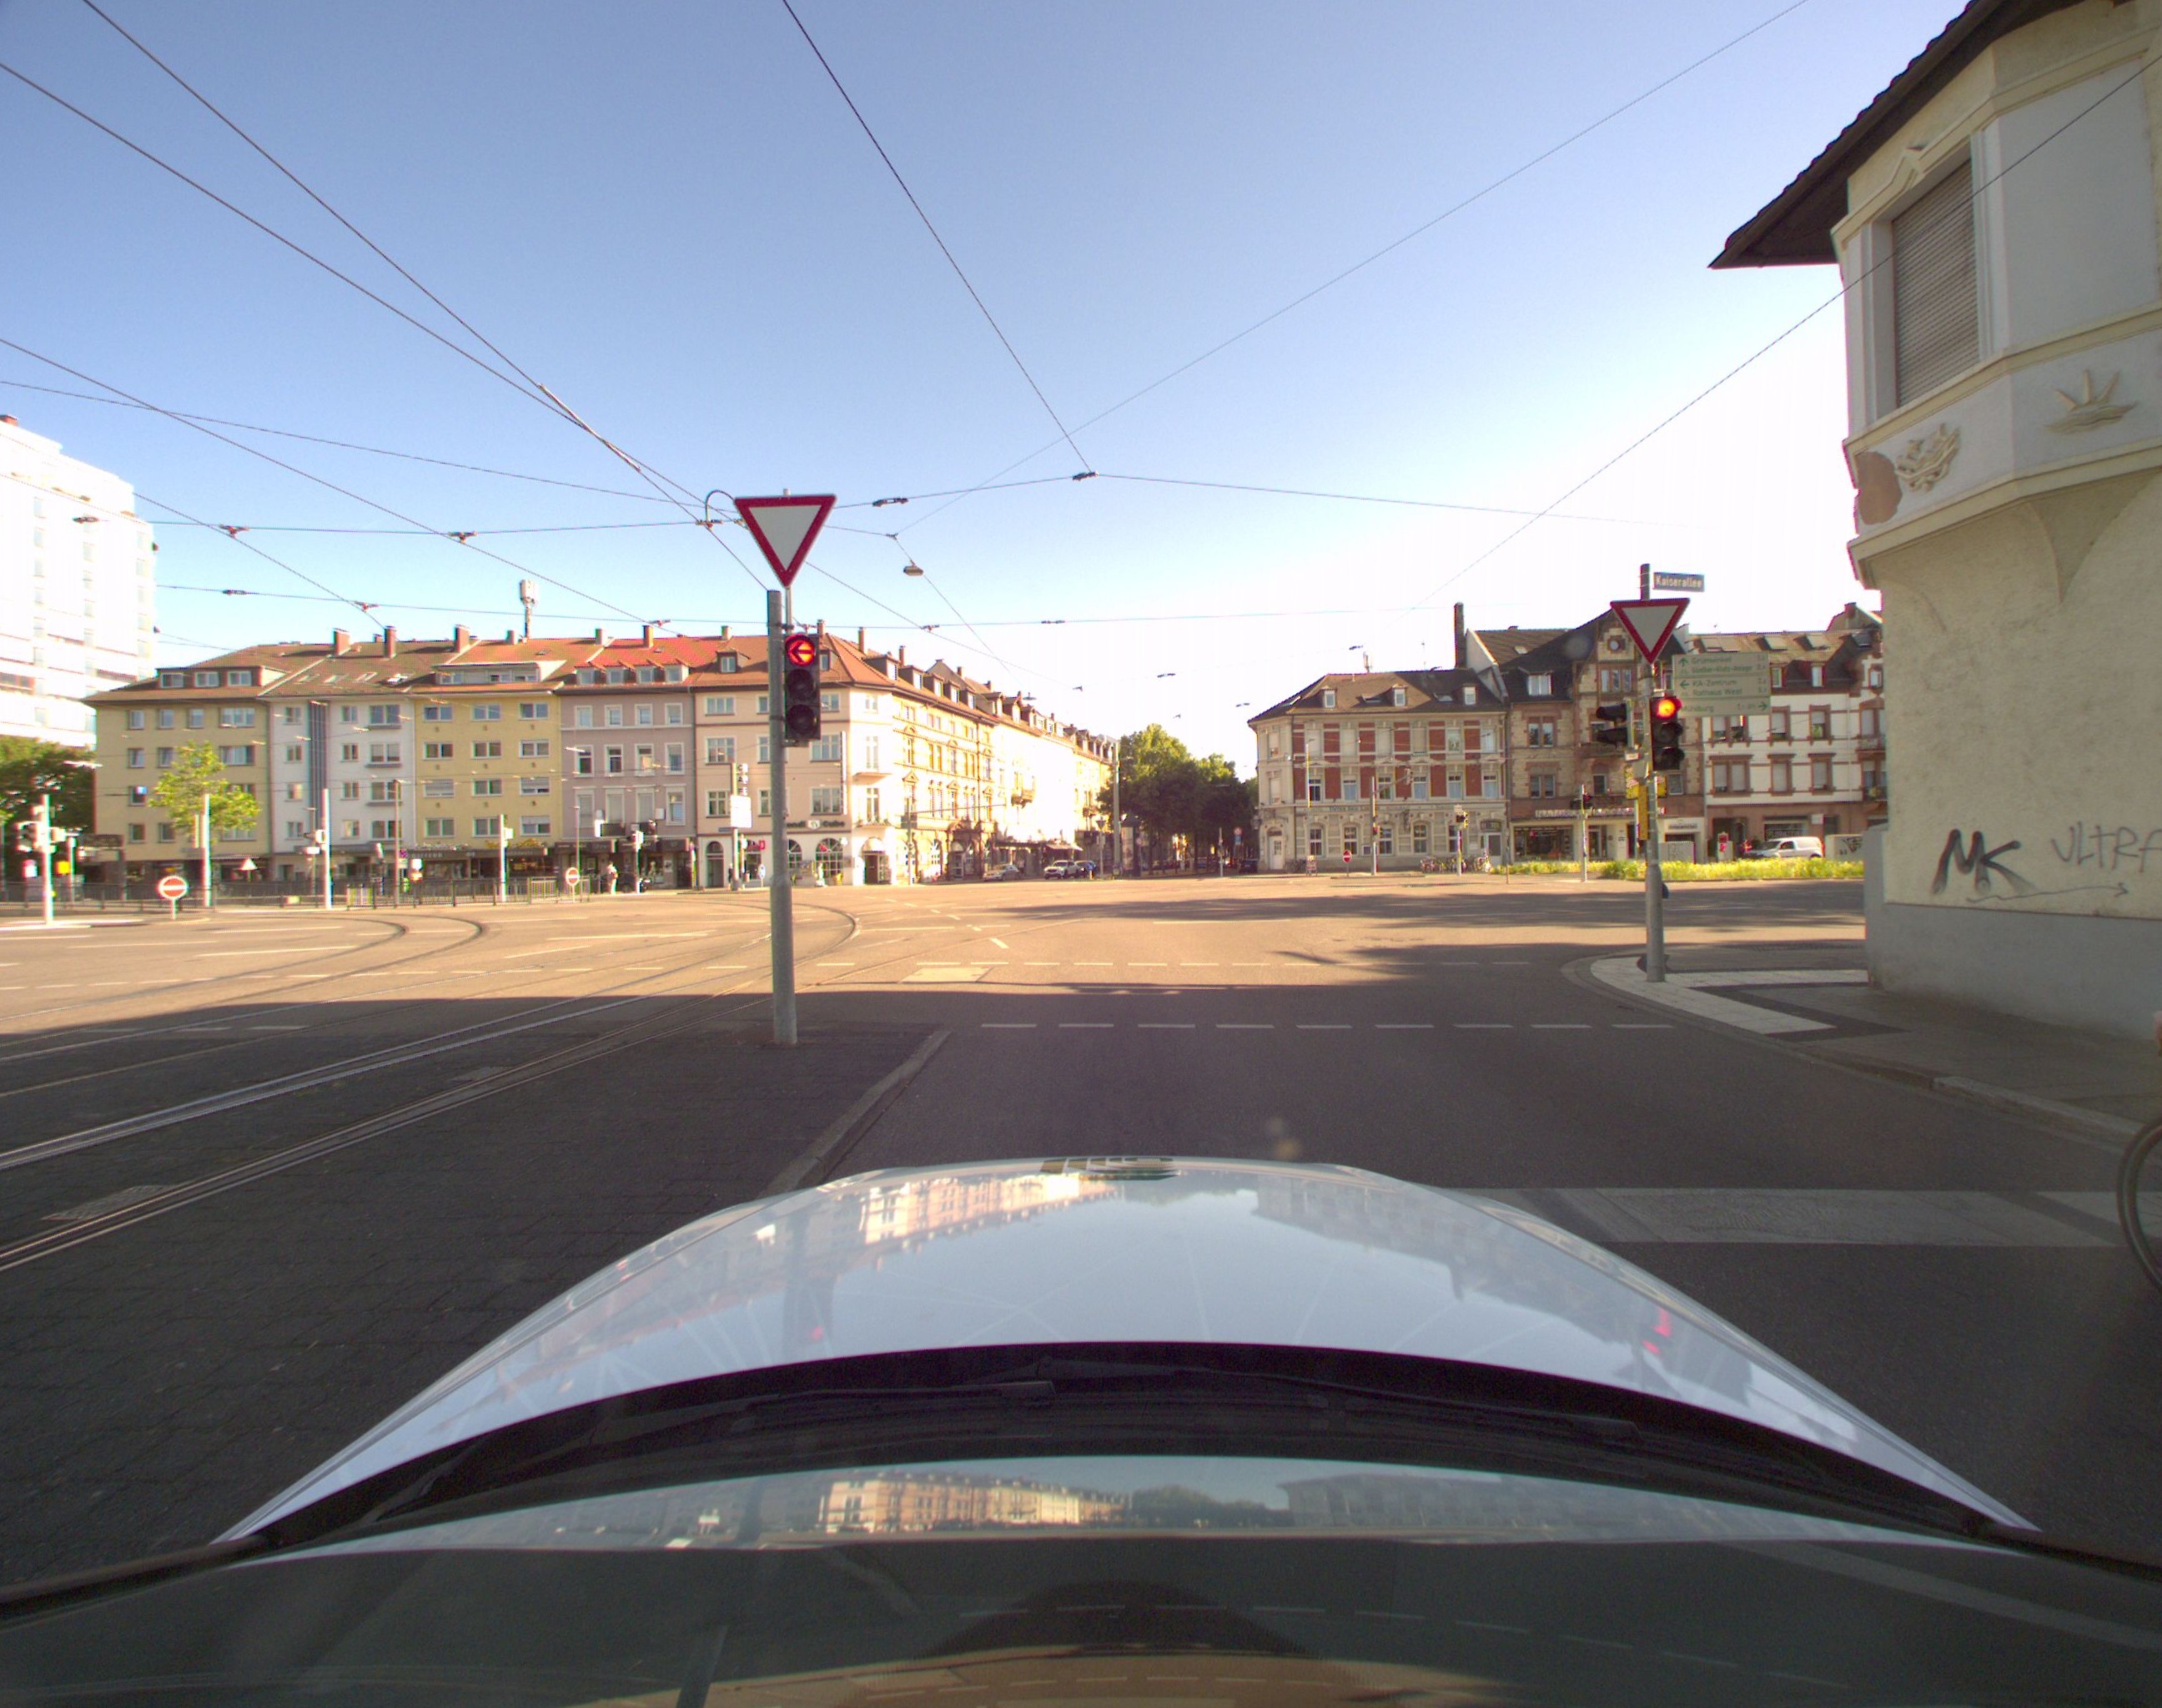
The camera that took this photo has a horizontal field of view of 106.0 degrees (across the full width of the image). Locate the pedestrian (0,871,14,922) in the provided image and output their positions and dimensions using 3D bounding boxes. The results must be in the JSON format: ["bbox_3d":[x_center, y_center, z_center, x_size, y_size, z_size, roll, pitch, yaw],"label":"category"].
[{"bbox_3d":[-36.486,1.436,27.174,0.694,1.698,0.781,-1,0,-1],"label":"pedestrian"}]

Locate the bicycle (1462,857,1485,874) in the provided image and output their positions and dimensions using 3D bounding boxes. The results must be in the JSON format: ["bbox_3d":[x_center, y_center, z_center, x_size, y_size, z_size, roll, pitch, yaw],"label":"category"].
[{"bbox_3d":[25.322,0.716,52.616,0.603,1.051,1.641,-1,0,-3],"label":"bicycle"}]

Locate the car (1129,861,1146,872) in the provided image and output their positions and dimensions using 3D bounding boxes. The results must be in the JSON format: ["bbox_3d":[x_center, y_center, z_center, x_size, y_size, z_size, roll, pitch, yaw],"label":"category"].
[{"bbox_3d":[7.615,1.654,110.000,1.729,1.397,4.137,1,0,12],"label":"car"}]

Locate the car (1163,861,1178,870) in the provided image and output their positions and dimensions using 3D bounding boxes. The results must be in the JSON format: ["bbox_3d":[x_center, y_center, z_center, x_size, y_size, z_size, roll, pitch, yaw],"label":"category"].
[{"bbox_3d":[14.455,1.814,131.454,1.728,1.397,4.141,1,0,16],"label":"car"}]

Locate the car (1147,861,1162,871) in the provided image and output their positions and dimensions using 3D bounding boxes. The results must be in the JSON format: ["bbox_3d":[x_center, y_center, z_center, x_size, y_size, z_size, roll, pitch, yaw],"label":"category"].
[{"bbox_3d":[11.077,1.732,122.707,1.729,1.397,4.137,1,0,12],"label":"car"}]

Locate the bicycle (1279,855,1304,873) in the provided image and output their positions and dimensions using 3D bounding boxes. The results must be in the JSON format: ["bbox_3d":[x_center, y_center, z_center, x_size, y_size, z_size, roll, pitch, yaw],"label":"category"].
[{"bbox_3d":[14.703,0.690,56.936,1.625,1.222,0.609,-1,0,18],"label":"bicycle"}]

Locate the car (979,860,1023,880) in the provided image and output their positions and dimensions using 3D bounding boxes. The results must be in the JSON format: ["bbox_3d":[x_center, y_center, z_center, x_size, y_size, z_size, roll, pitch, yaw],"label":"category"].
[{"bbox_3d":[-6.589,1.305,67.698,2.080,1.545,4.382,-2,0,16],"label":"car"}]

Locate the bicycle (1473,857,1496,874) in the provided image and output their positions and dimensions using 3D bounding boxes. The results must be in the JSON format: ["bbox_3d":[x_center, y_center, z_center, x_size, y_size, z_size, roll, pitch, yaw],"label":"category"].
[{"bbox_3d":[26.060,0.710,52.608,0.603,1.051,1.641,-1,0,-3],"label":"bicycle"}]

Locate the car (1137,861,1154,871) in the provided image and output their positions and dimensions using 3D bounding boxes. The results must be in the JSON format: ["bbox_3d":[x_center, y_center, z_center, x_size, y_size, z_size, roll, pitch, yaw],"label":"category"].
[{"bbox_3d":[9.189,1.689,115.770,1.729,1.397,4.137,1,0,12],"label":"car"}]

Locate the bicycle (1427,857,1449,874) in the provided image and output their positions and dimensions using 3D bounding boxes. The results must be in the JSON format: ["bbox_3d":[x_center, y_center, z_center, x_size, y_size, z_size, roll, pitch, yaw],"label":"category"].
[{"bbox_3d":[23.157,0.734,52.866,0.603,1.051,1.641,-1,0,-3],"label":"bicycle"}]

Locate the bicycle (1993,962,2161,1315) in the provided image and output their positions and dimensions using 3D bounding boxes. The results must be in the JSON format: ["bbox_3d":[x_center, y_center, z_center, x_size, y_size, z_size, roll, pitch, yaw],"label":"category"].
[{"bbox_3d":[3.572,0.906,2.082,0.530,1.016,1.759,-1,0,2],"label":"bicycle"}]

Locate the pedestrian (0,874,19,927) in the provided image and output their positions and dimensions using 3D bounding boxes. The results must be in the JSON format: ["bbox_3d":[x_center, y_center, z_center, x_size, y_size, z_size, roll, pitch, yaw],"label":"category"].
[{"bbox_3d":[-33.569,1.437,25.042,0.708,1.625,0.799,-1,0,-1],"label":"pedestrian"}]

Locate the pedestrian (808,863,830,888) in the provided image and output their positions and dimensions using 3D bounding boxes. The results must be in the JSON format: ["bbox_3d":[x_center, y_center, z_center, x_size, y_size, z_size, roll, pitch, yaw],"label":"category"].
[{"bbox_3d":[-17.674,1.455,54.945,1.060,1.591,1.043,-1,0,4],"label":"pedestrian"}]

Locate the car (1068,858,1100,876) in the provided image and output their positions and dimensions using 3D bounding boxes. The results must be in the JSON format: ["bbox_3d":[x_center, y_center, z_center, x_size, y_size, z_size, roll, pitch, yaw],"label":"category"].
[{"bbox_3d":[0.300,1.152,73.691,1.979,1.513,4.015,-1,0,14],"label":"car"}]

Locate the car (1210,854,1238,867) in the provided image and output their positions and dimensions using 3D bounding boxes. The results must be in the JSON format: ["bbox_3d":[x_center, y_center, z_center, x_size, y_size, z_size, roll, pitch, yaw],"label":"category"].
[{"bbox_3d":[23.386,1.090,133.068,4.074,1.919,1.756,1,0,23],"label":"car"}]

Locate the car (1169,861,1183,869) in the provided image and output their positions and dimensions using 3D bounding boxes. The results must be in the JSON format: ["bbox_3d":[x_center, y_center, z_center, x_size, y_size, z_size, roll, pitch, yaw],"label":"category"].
[{"bbox_3d":[15.879,1.838,136.201,1.728,1.397,4.141,1,0,16],"label":"car"}]

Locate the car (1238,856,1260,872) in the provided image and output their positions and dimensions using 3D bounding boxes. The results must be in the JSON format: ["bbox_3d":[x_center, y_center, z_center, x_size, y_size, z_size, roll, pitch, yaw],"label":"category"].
[{"bbox_3d":[16.915,0.992,82.049,1.637,1.524,3.772,-2,-1,20],"label":"car"}]

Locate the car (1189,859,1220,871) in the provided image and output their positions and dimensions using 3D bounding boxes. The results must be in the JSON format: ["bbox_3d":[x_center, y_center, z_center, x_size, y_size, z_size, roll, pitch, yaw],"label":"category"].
[{"bbox_3d":[17.498,1.528,114.990,4.078,1.646,1.754,1,0,17],"label":"car"}]

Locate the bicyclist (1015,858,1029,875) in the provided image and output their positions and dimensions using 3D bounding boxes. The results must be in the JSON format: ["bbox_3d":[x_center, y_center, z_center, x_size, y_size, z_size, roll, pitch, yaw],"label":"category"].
[{"bbox_3d":[-4.758,0.988,65.869,0.787,1.375,1.113,-1,0,16],"label":"bicyclist"}]

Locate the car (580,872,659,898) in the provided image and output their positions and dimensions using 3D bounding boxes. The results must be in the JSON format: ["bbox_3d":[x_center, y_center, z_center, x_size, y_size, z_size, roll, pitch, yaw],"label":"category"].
[{"bbox_3d":[-30.267,1.994,53.533,3.978,1.464,1.998,-2,0,-4],"label":"car"}]

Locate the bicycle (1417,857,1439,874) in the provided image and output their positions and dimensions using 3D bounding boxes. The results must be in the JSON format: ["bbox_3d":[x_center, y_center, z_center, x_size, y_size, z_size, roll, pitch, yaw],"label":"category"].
[{"bbox_3d":[22.503,0.738,52.836,0.603,1.051,1.641,-1,0,-3],"label":"bicycle"}]

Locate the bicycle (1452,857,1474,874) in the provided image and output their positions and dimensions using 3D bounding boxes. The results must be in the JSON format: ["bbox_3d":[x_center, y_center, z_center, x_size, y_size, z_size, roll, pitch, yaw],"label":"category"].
[{"bbox_3d":[24.647,0.720,52.566,0.603,1.051,1.641,-1,0,-3],"label":"bicycle"}]

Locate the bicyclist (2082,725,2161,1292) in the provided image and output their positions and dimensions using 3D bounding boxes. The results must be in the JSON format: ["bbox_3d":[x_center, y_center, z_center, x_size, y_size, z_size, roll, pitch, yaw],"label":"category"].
[{"bbox_3d":[3.558,0.469,2.120,0.557,1.730,1.084,0,-1,2],"label":"bicyclist"}]

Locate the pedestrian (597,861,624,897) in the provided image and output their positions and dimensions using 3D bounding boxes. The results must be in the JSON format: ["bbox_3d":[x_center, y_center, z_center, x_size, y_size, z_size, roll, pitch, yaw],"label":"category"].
[{"bbox_3d":[-24.564,1.312,42.556,0.871,1.818,0.811,-1,0,2],"label":"pedestrian"}]

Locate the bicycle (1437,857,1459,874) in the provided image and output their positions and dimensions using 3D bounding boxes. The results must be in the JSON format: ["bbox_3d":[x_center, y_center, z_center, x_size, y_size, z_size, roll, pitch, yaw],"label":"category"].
[{"bbox_3d":[23.820,0.729,52.866,0.603,1.051,1.641,-1,0,-3],"label":"bicycle"}]

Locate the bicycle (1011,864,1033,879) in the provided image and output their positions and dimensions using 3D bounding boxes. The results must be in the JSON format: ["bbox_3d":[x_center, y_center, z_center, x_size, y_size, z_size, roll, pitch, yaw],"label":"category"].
[{"bbox_3d":[-4.760,1.432,65.898,0.745,1.135,2.821,-1,0,16],"label":"bicycle"}]

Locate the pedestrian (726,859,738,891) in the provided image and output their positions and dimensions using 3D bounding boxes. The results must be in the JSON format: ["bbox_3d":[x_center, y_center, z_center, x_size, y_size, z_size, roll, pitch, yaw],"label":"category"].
[{"bbox_3d":[-22.770,1.359,53.122,0.506,2.013,0.505,-1,0,5],"label":"pedestrian"}]

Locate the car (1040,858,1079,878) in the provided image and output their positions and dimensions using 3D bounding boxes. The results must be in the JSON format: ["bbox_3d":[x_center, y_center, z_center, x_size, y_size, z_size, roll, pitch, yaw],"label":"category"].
[{"bbox_3d":[-1.722,1.164,67.368,2.080,1.499,4.017,-2,0,16],"label":"car"}]

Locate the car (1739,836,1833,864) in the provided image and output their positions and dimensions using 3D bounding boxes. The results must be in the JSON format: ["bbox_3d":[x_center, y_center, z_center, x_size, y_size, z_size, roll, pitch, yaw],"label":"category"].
[{"bbox_3d":[45.392,-0.235,52.467,4.356,1.654,1.999,-1,0,-2],"label":"car"}]
